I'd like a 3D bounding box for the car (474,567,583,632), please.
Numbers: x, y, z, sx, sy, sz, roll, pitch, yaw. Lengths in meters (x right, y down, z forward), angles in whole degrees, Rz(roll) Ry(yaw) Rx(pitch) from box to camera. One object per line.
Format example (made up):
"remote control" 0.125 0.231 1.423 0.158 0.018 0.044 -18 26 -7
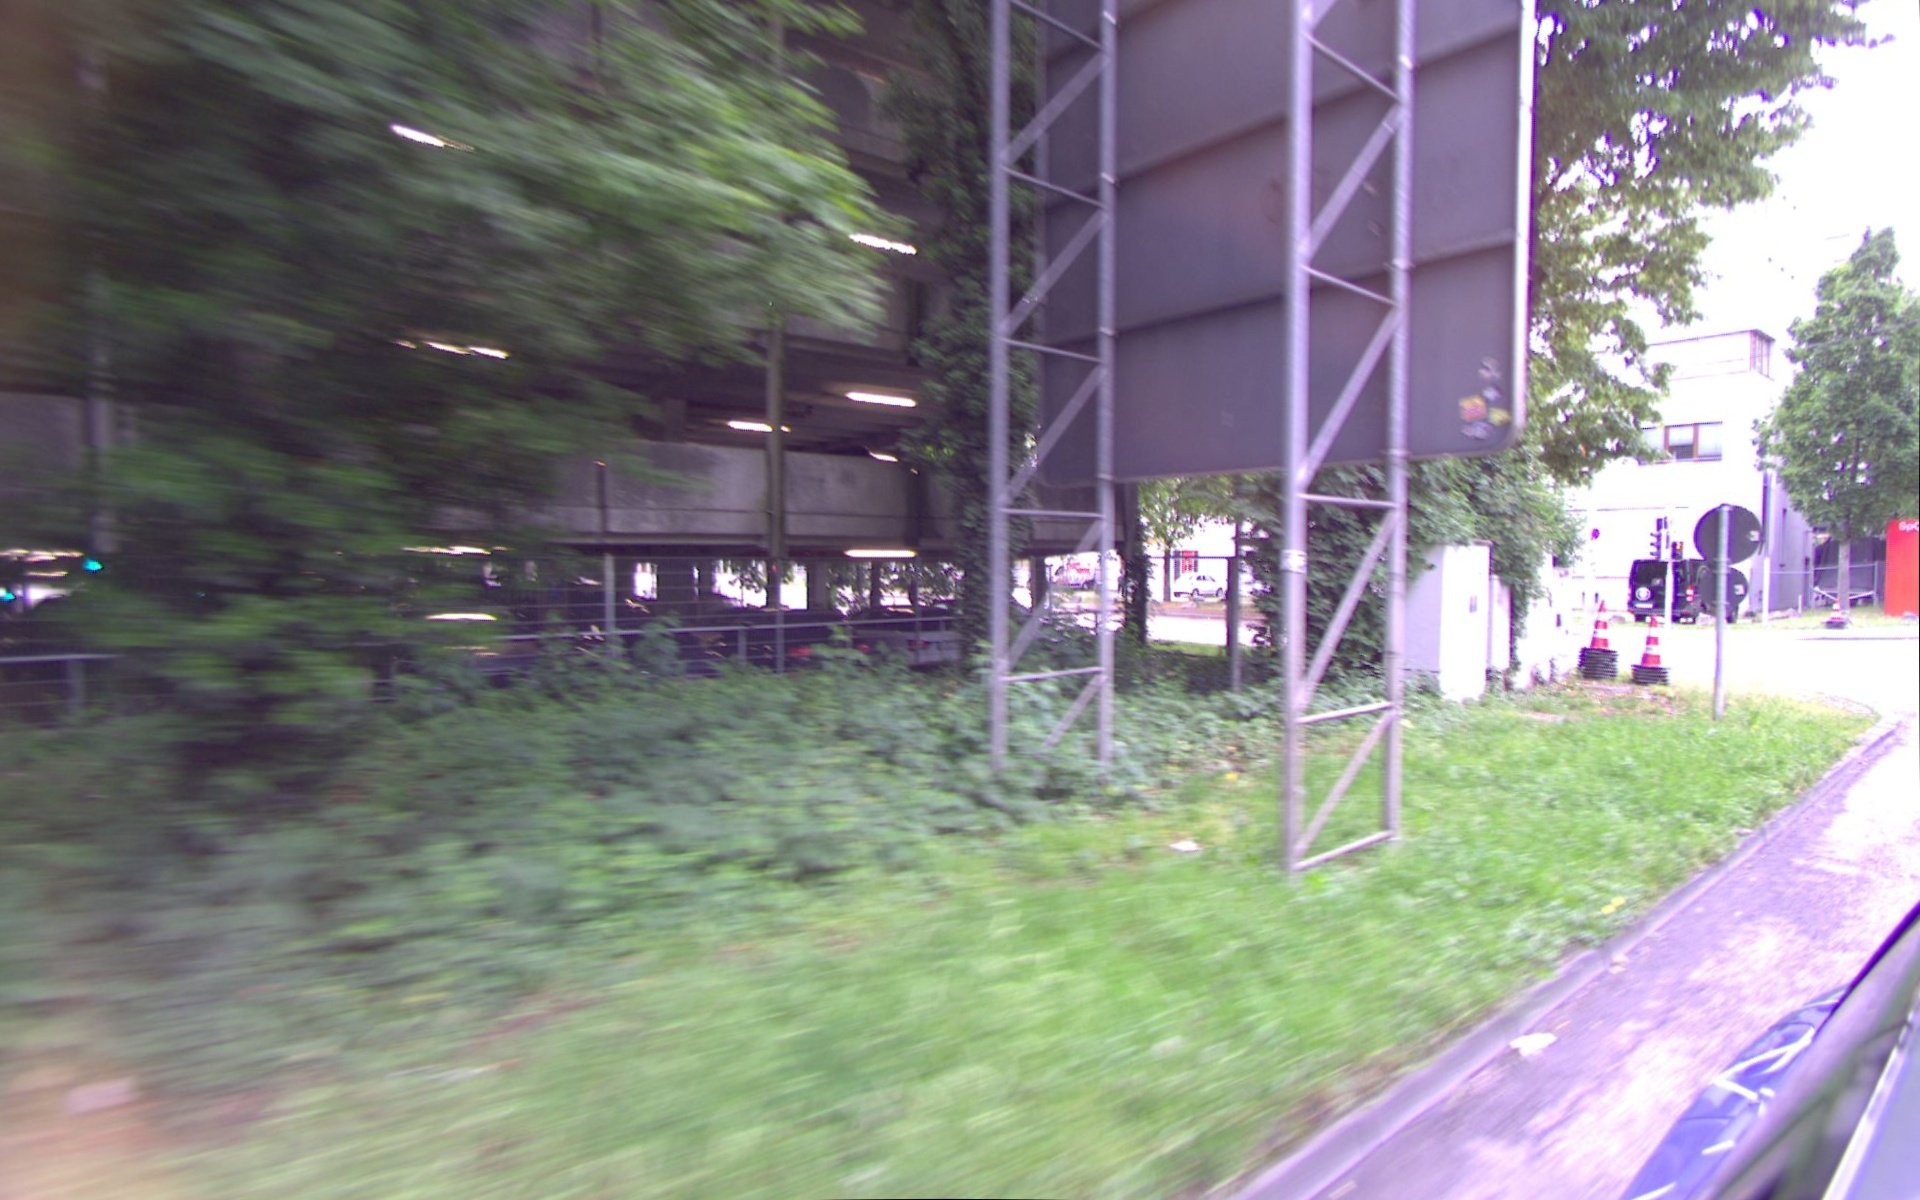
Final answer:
"car" -12.879 -0.081 30.077 1.965 1.749 3.997 -3 3 -38

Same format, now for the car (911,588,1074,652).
"car" 0.573 0.344 20.033 1.510 1.100 3.253 -1 2 -38

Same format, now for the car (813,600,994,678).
"car" -1.125 0.644 18.508 1.592 1.176 3.640 -1 2 -36

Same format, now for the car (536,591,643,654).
"car" -9.548 0.512 25.936 1.495 1.381 3.774 -1 3 -38

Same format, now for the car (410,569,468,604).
"car" -21.921 -0.595 42.536 1.495 1.343 3.774 -1 3 -38

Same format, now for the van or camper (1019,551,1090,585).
"van or camper" 7.062 -2.420 75.275 5.177 2.455 2.255 -2 3 -40

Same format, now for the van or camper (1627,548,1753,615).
"van or camper" 25.759 -0.601 35.643 5.540 2.136 2.168 1 0 -38

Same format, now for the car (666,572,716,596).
"car" -21.242 -1.295 79.818 4.357 1.411 1.680 5 13 43

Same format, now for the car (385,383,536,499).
"car" -7.042 -2.138 14.161 1.332 1.262 2.895 -3 3 -37

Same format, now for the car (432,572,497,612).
"car" -18.755 -0.336 38.228 1.495 1.381 3.774 -1 3 -38

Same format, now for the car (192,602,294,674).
"car" -14.821 0.716 20.848 1.496 1.190 3.341 -3 3 -39
